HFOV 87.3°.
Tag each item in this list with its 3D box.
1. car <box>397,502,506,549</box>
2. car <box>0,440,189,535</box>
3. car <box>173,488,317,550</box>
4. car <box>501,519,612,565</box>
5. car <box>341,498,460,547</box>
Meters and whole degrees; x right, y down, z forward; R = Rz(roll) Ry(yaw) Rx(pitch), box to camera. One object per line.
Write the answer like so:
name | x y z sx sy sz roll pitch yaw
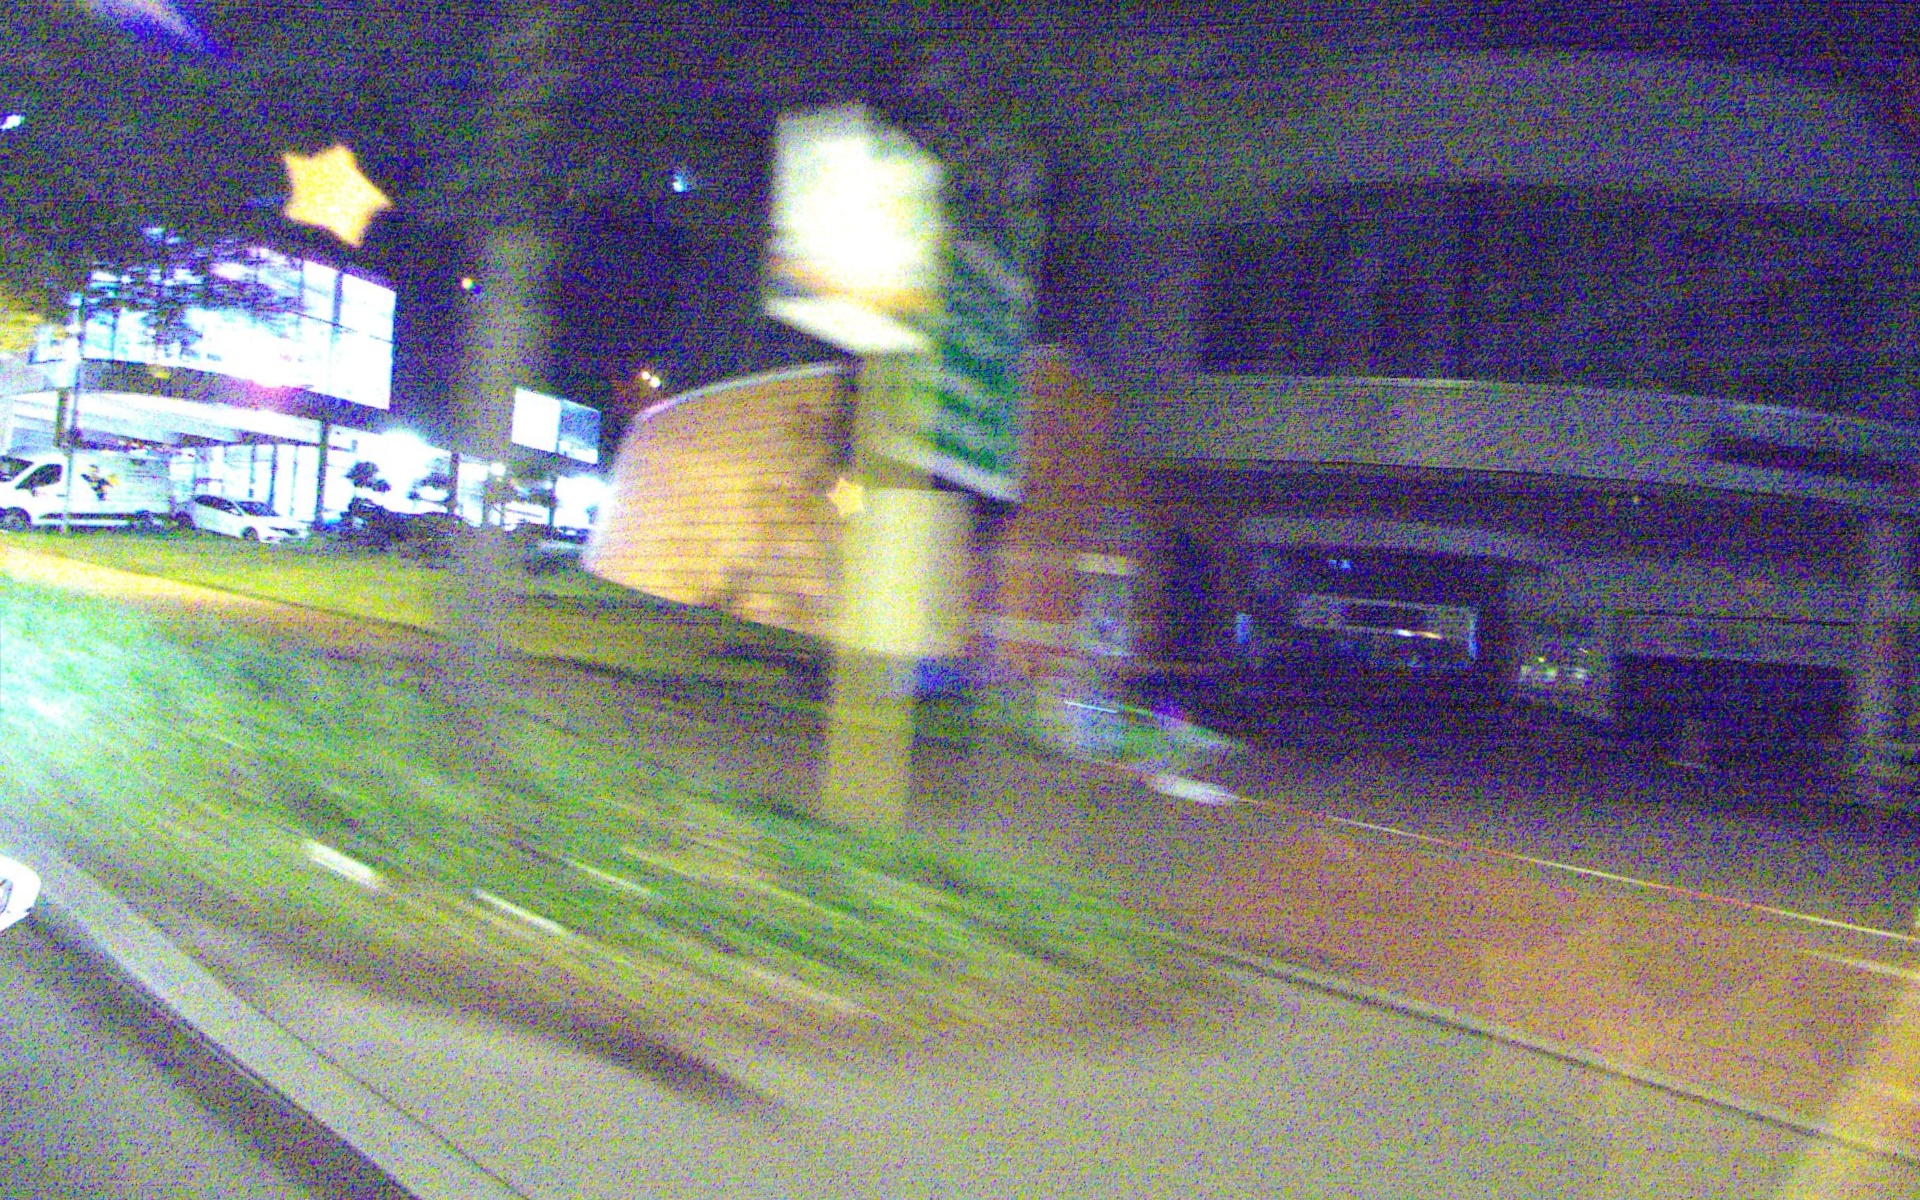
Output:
car | -22.194 -3.241 43.927 3.891 1.624 1.779 6 5 9
car | -27.661 -3.462 31.006 2.240 2.565 6.027 6 4 14
car | -25.136 -2.833 35.420 3.891 1.735 1.810 6 2 9
car | -19.919 -2.853 49.717 4.578 1.682 2.002 6 -1 9
car | -22.802 -3.166 41.059 3.891 1.600 1.797 6 5 9
